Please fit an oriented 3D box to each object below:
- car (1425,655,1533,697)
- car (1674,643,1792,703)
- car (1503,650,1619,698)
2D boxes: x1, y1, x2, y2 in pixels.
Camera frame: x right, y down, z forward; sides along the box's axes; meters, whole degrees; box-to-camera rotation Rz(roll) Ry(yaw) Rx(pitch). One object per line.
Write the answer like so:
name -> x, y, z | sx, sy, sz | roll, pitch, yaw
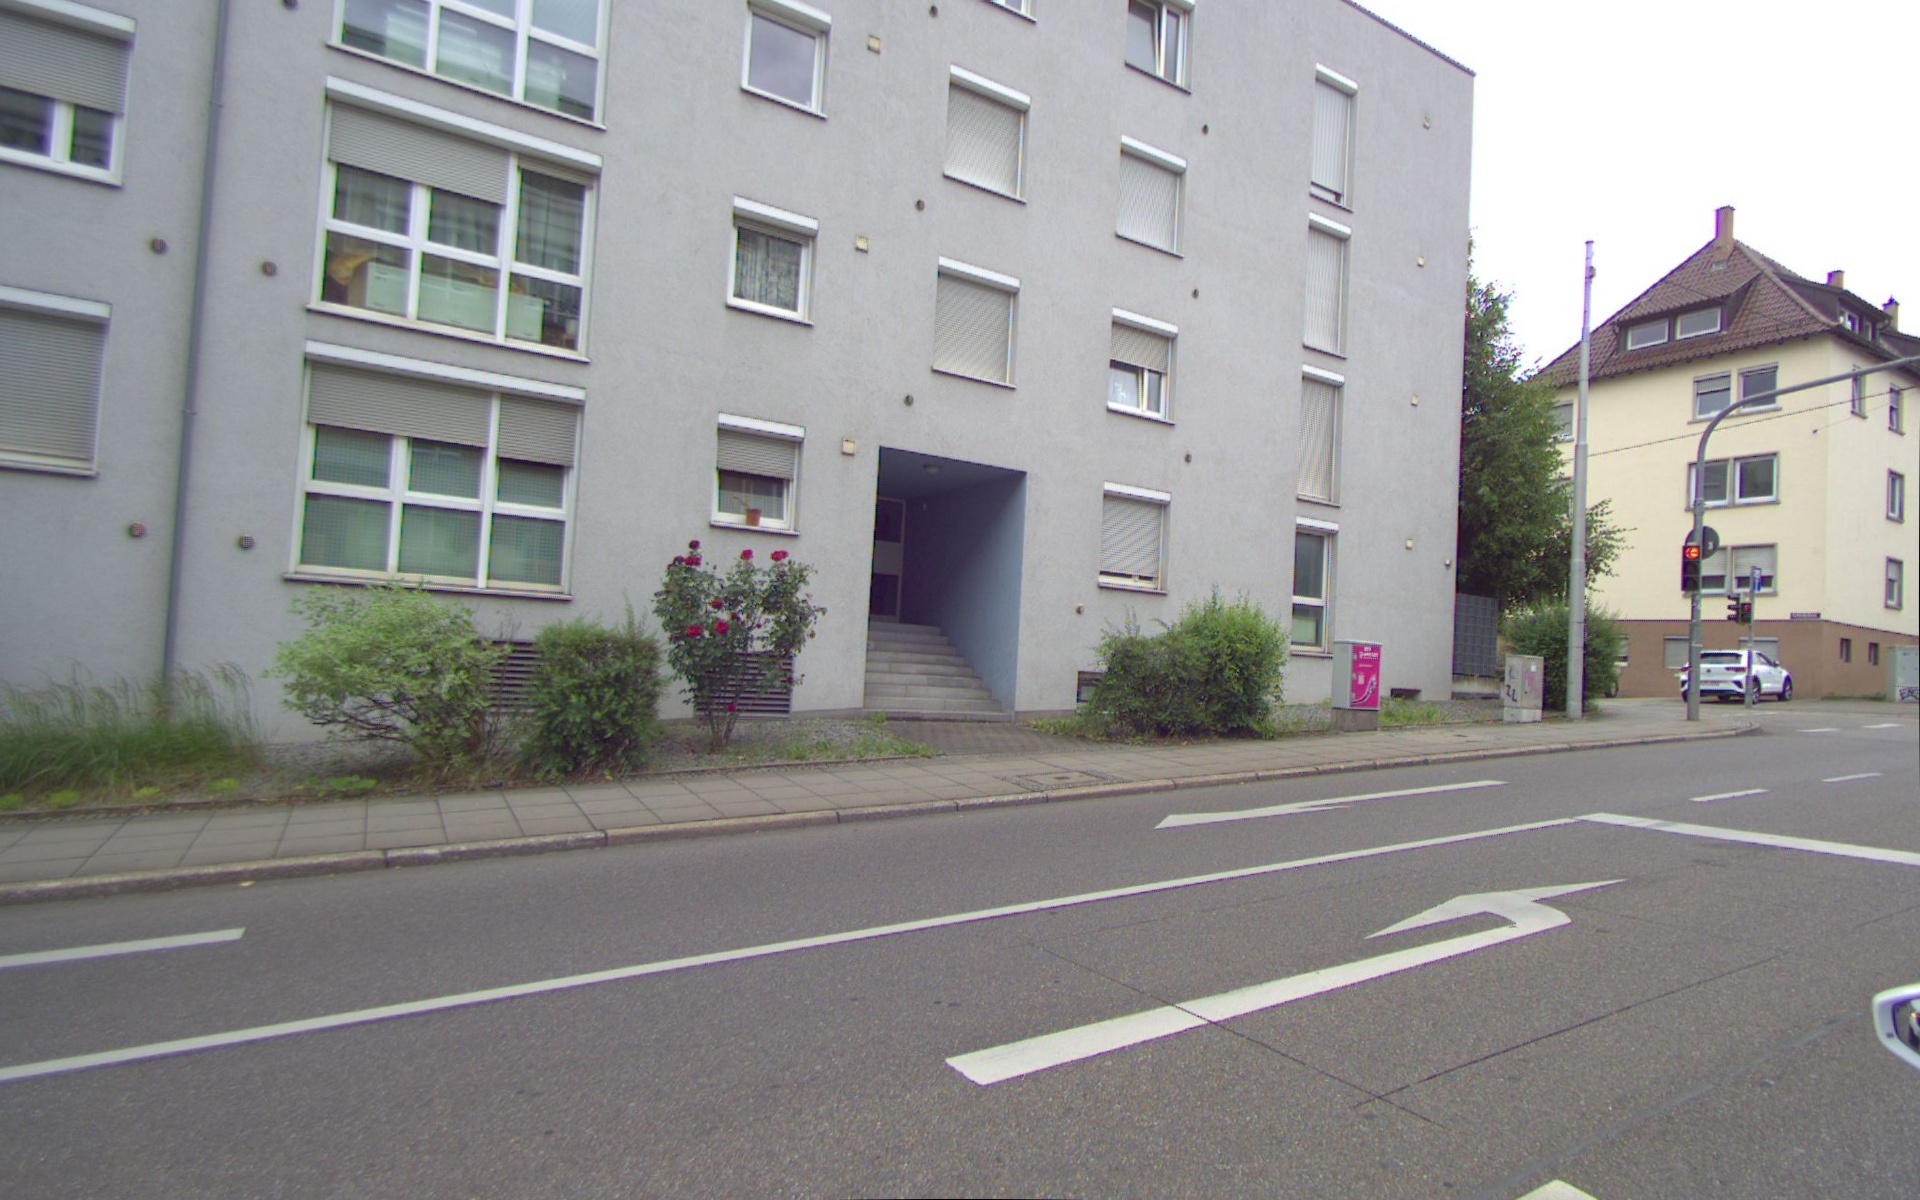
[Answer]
car -> 19.032, 2.741, 36.777 | 3.953, 1.380, 1.662 | 2, -1, -30
car -> 23.221, 2.157, 30.141 | 3.960, 1.683, 1.660 | 2, -4, -35
car -> 20.655, 2.509, 34.503 | 4.053, 1.566, 1.662 | 2, -4, -30
